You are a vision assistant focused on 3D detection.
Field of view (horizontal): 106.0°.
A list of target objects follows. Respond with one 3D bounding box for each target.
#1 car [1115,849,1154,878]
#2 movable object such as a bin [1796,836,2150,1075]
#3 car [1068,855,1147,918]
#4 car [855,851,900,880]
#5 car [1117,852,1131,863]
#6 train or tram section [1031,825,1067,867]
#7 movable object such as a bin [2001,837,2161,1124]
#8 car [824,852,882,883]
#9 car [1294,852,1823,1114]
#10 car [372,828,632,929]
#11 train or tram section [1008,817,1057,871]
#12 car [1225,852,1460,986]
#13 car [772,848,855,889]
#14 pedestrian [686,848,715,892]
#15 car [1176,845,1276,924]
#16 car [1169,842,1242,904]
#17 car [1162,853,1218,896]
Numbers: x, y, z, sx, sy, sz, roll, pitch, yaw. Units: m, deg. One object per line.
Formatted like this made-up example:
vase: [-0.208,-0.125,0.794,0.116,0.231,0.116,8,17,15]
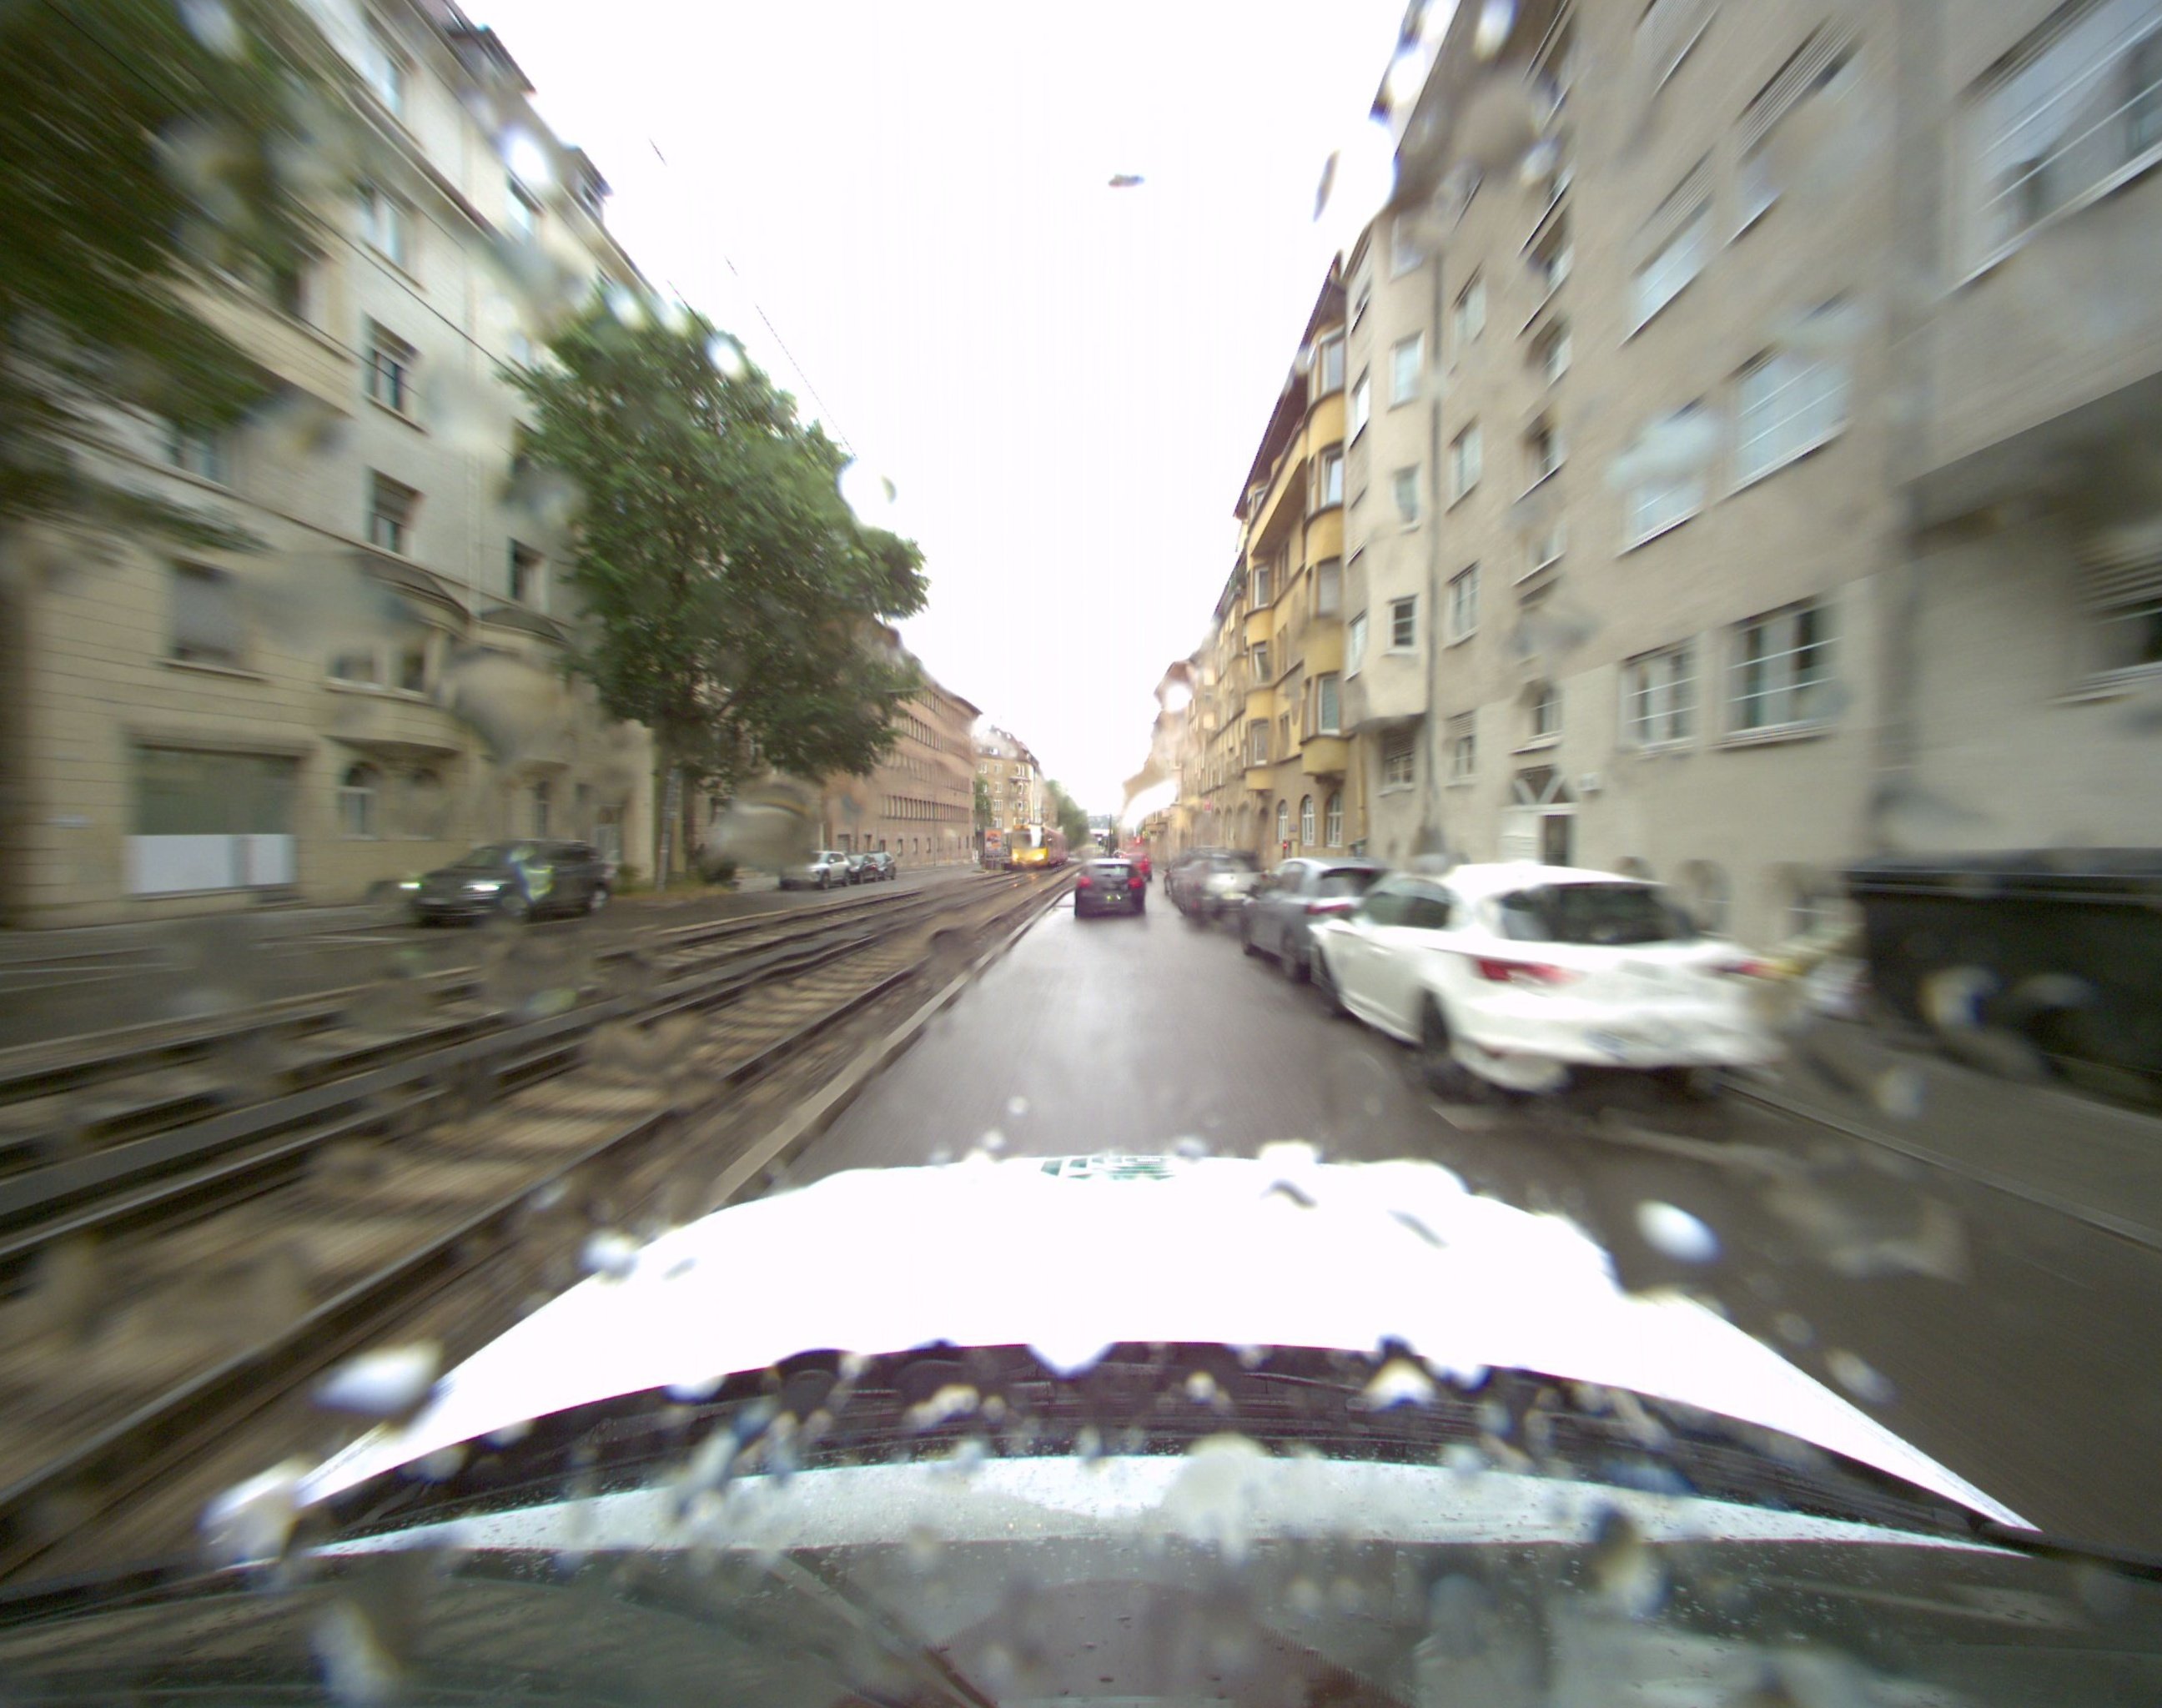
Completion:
car: [2.901,0.512,44.887,1.986,1.525,4.248,1,0,2]
movable object such as a bin: [6.088,0.631,5.692,1.014,1.468,1.323,0,-1,1]
car: [0.700,0.760,20.918,1.827,1.453,3.904,0,0,2]
car: [-10.803,0.572,43.299,1.566,1.466,3.045,1,0,1]
car: [6.238,0.493,117.934,1.879,1.525,4.250,1,0,4]
train or tram section: [-3.234,-0.773,86.463,2.735,4.061,15.666,0,0,1]
movable object such as a bin: [6.008,0.642,4.243,0.976,1.468,1.273,0,-1,1]
car: [-10.993,0.623,39.536,1.660,1.415,3.689,1,0,2]
car: [3.109,0.711,6.533,1.782,1.385,4.397,0,-1,2]
car: [-11.852,0.432,17.214,1.946,1.742,4.779,3,0,1]
train or tram section: [-3.942,-0.791,70.182,2.735,4.061,17.219,0,0,1]
car: [3.287,0.736,11.202,1.826,1.468,4.374,0,-1,0]
car: [-11.221,0.574,34.480,1.954,1.605,4.330,1,0,1]
pedestrian: [-14.586,0.589,31.223,0.725,1.663,0.771,0,0,1]
car: [3.258,0.661,19.133,1.833,1.608,4.766,0,-1,4]
car: [3.754,0.562,25.185,1.771,1.750,4.552,0,-1,3]
car: [3.943,0.727,29.800,1.586,1.440,3.309,1,-1,0]
